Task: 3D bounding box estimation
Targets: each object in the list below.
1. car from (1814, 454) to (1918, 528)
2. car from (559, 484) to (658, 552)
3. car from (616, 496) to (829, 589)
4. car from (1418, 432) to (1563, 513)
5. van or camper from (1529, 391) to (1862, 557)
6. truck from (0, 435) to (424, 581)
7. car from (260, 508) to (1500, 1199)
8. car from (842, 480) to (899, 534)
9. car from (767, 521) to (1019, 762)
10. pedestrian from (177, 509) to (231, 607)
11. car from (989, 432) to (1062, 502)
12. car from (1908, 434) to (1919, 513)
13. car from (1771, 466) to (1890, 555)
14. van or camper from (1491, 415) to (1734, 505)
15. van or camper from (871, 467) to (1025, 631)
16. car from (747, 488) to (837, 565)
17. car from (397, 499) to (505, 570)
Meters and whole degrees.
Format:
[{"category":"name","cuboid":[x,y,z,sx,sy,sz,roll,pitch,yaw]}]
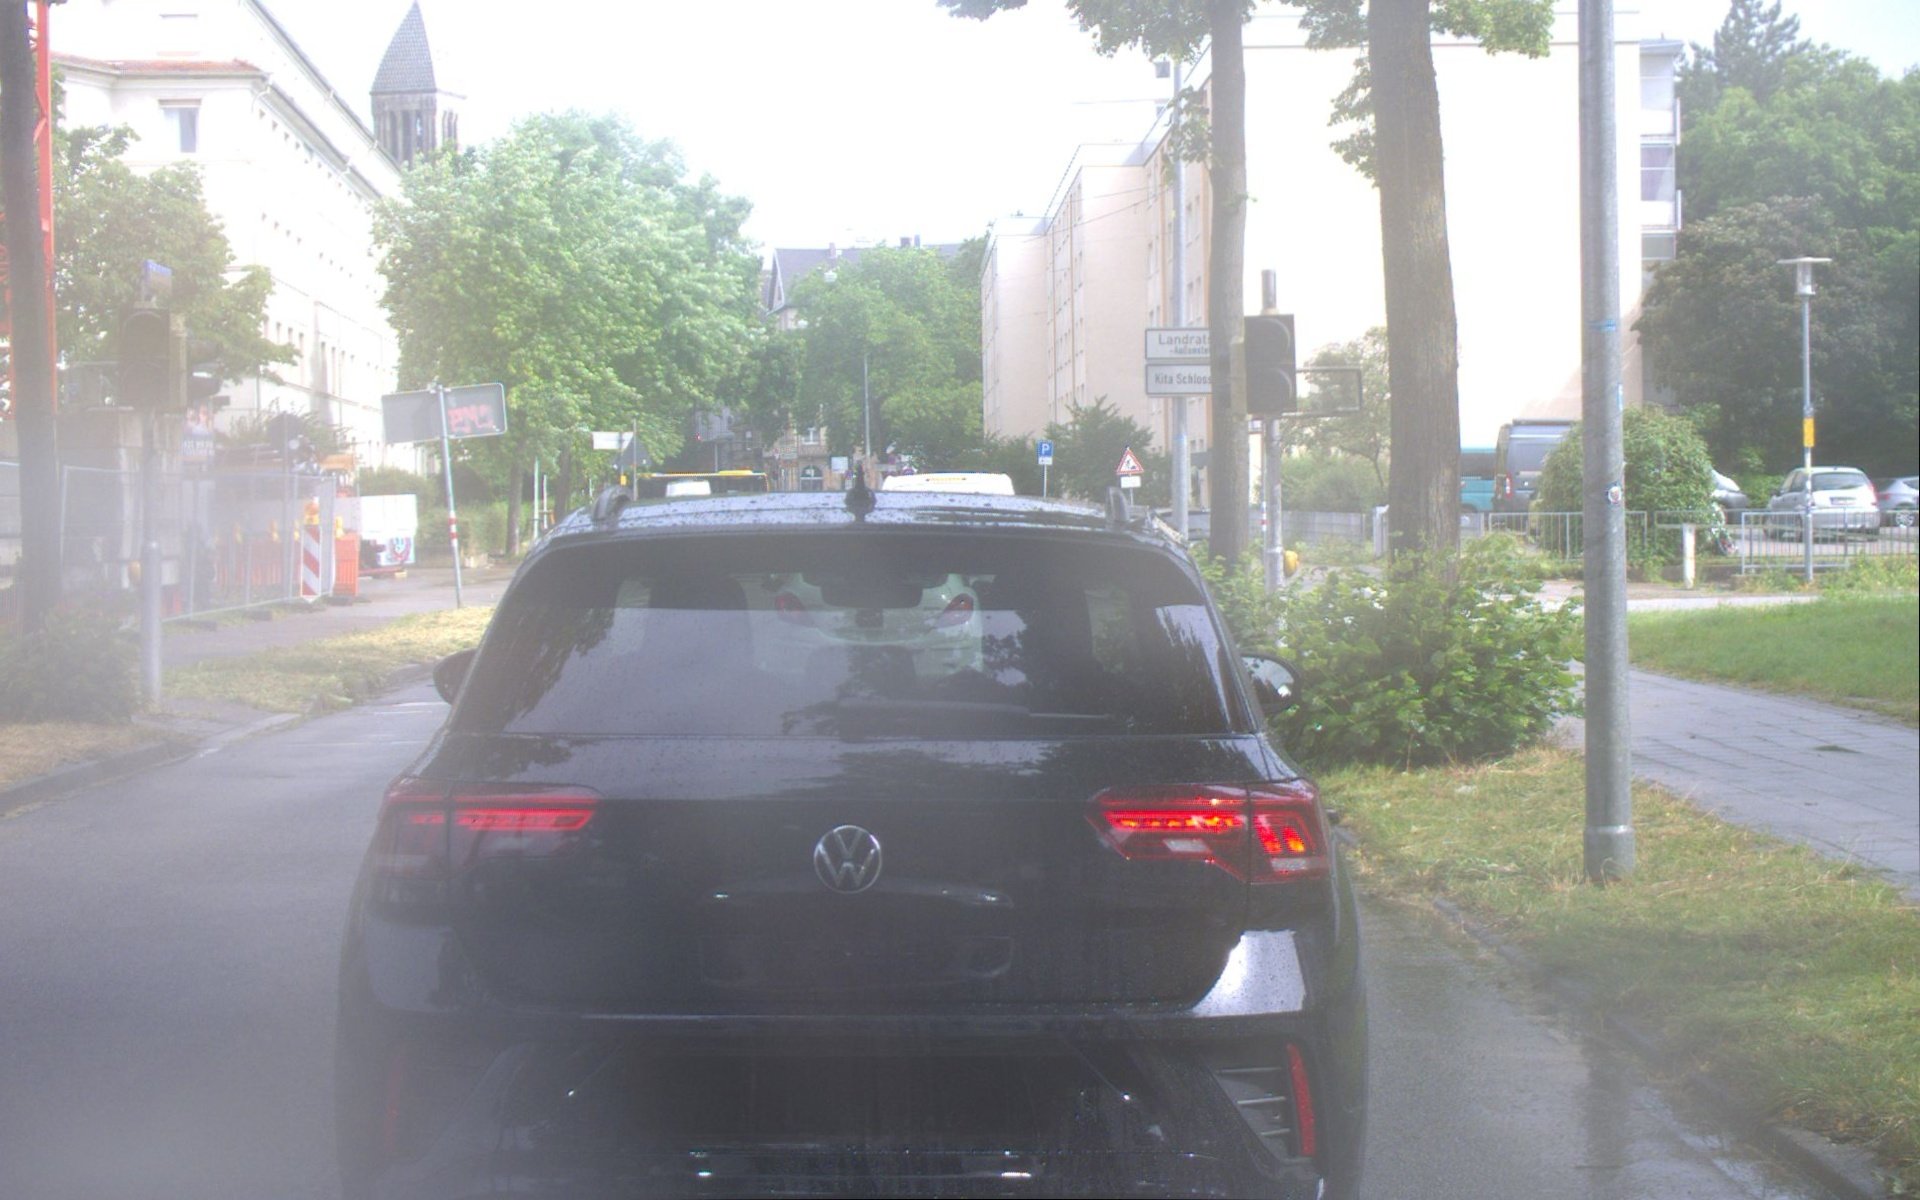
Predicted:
[{"category":"car","cuboid":[24.275,-2.920,92.206,1.867,1.850,3.810,-4,1,3]},{"category":"car","cuboid":[-8.497,-2.005,83.393,1.591,1.507,3.731,-4,2,5]},{"category":"car","cuboid":[-4.903,-1.197,71.119,3.923,1.645,1.760,-5,2,-30]},{"category":"car","cuboid":[13.073,-3.137,84.743,3.408,1.775,1.759,-3,1,9]},{"category":"van or camper","cuboid":[12.237,-2.094,57.422,5.032,2.587,2.168,-1,1,-1]},{"category":"truck","cuboid":[-14.477,-1.745,64.616,8.218,2.647,2.813,0,2,13]},{"category":"car","cuboid":[-0.134,0.576,7.270,1.894,1.517,4.000,0,2,0]},{"category":"car","cuboid":[-2.718,-2.820,104.234,1.591,1.507,3.732,-4,2,-2]},{"category":"car","cuboid":[-0.466,0.270,27.511,1.680,1.702,3.909,-3,1,3]},{"category":"pedestrian","cuboid":[-11.670,-0.652,53.078,0.660,1.480,0.673,-1,3,-25]},{"category":"car","cuboid":[1.943,-3.972,103.069,1.993,2.007,4.000,-1,1,-1]},{"category":"car","cuboid":[25.318,-3.237,86.410,1.994,2.006,4.000,-4,1,3]},{"category":"car","cuboid":[17.914,-1.848,70.888,1.743,1.678,3.870,-4,1,6]},{"category":"van or camper","cuboid":[14.176,-3.055,74.896,4.874,1.919,2.131,0,2,0]},{"category":"van or camper","cuboid":[-0.115,-0.675,42.787,1.819,1.941,4.195,0,2,1]},{"category":"car","cuboid":[-4.062,-1.765,82.474,1.788,1.678,4.487,-4,2,-6]},{"category":"car","cuboid":[-11.979,-1.570,81.174,1.591,1.507,3.731,-4,2,5]}]
